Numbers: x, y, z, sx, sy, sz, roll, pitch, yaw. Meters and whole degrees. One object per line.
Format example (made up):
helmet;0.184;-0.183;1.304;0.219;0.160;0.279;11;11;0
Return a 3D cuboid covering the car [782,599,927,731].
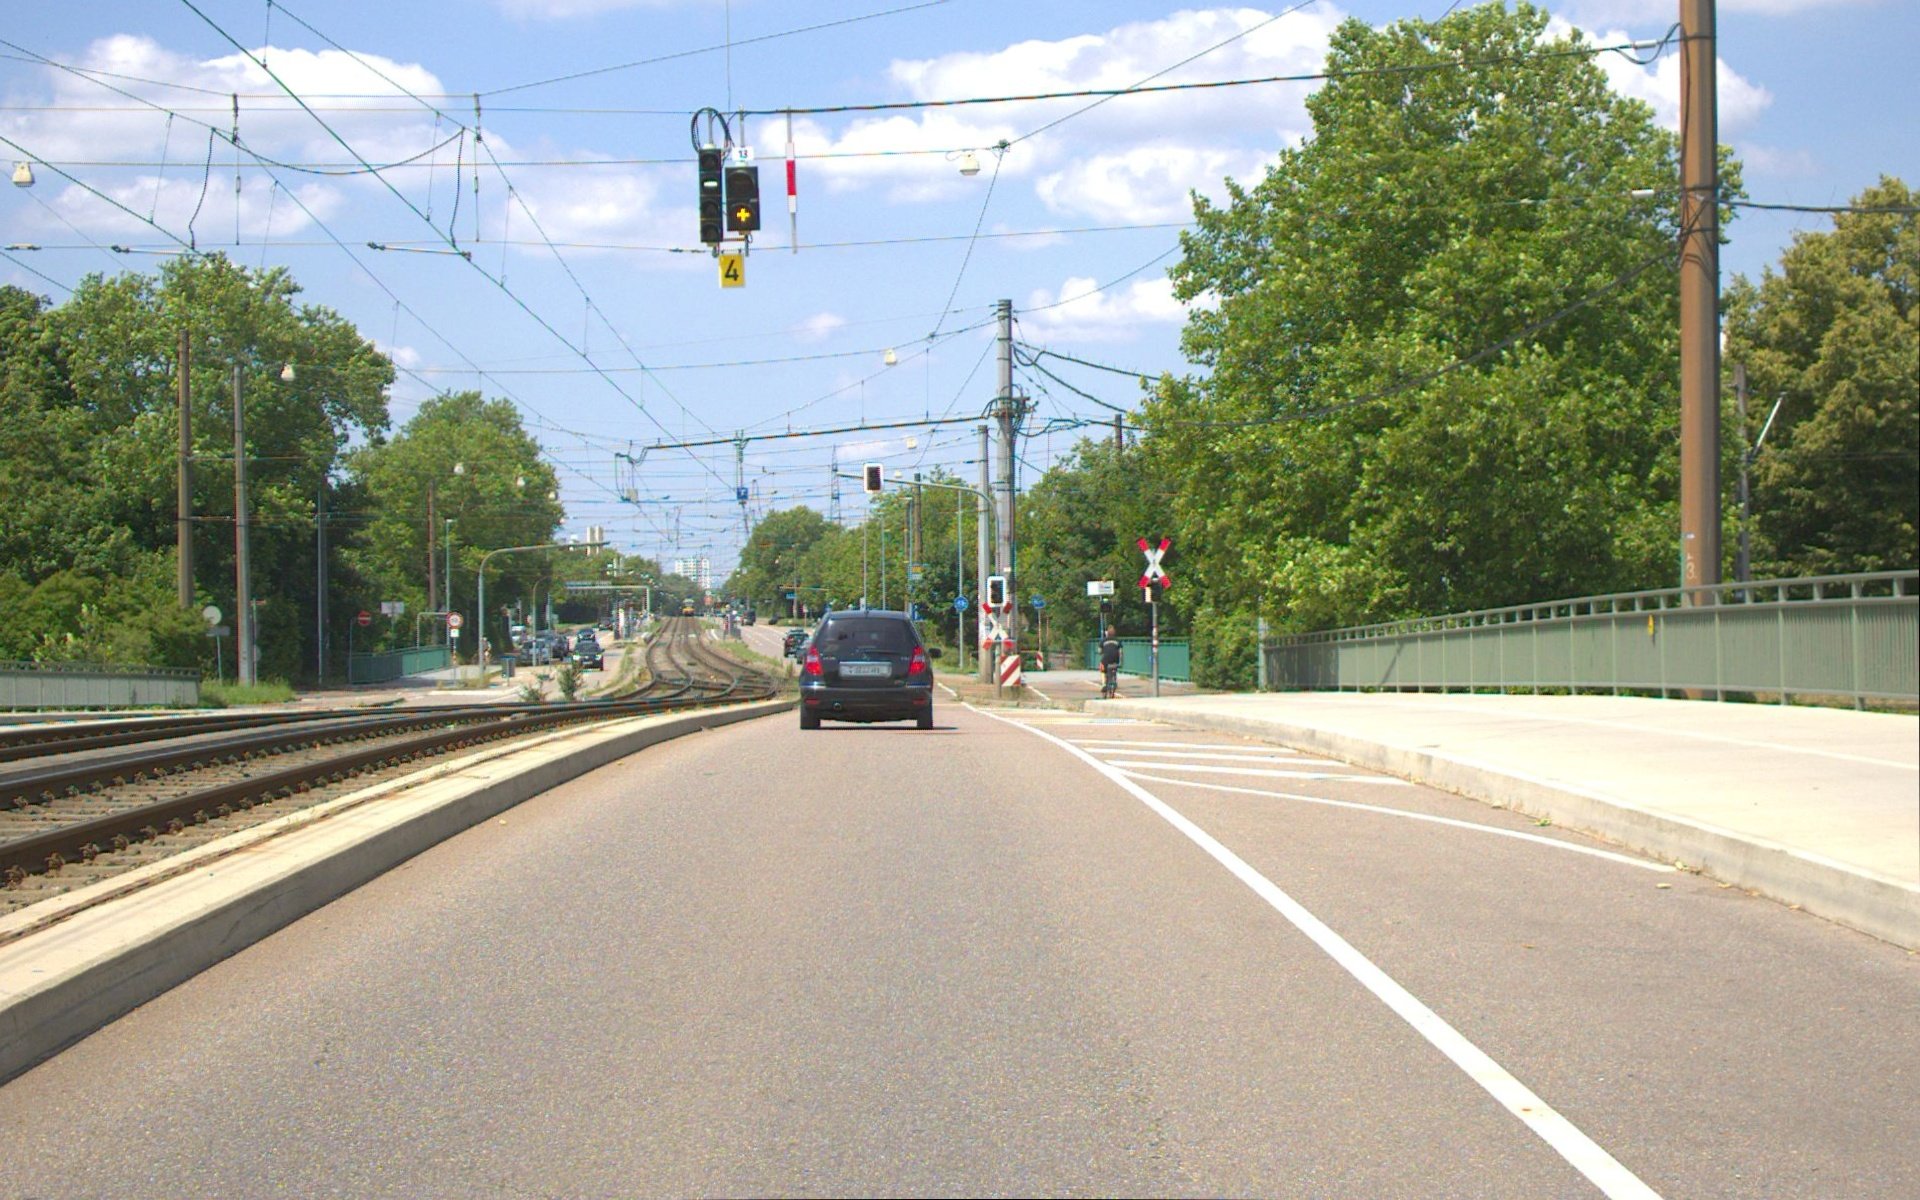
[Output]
car;-1.401;0.840;46.439;1.853;1.565;4.388;0;2;-1

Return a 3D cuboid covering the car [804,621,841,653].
car;-7.733;2.080;194.226;1.885;1.634;4.000;3;1;0

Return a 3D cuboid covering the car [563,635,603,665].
car;-19.938;2.641;182.068;1.705;1.505;3.733;-1;-1;0

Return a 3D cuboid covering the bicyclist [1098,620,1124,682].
bicyclist;3.660;1.235;83.349;0.585;1.490;0.558;1;1;0

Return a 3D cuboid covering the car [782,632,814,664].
car;-10.642;3.137;225.521;1.993;2.007;4.000;1;1;-2

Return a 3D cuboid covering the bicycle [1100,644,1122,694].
bicycle;3.656;1.671;83.321;0.432;1.148;1.855;1;1;0
